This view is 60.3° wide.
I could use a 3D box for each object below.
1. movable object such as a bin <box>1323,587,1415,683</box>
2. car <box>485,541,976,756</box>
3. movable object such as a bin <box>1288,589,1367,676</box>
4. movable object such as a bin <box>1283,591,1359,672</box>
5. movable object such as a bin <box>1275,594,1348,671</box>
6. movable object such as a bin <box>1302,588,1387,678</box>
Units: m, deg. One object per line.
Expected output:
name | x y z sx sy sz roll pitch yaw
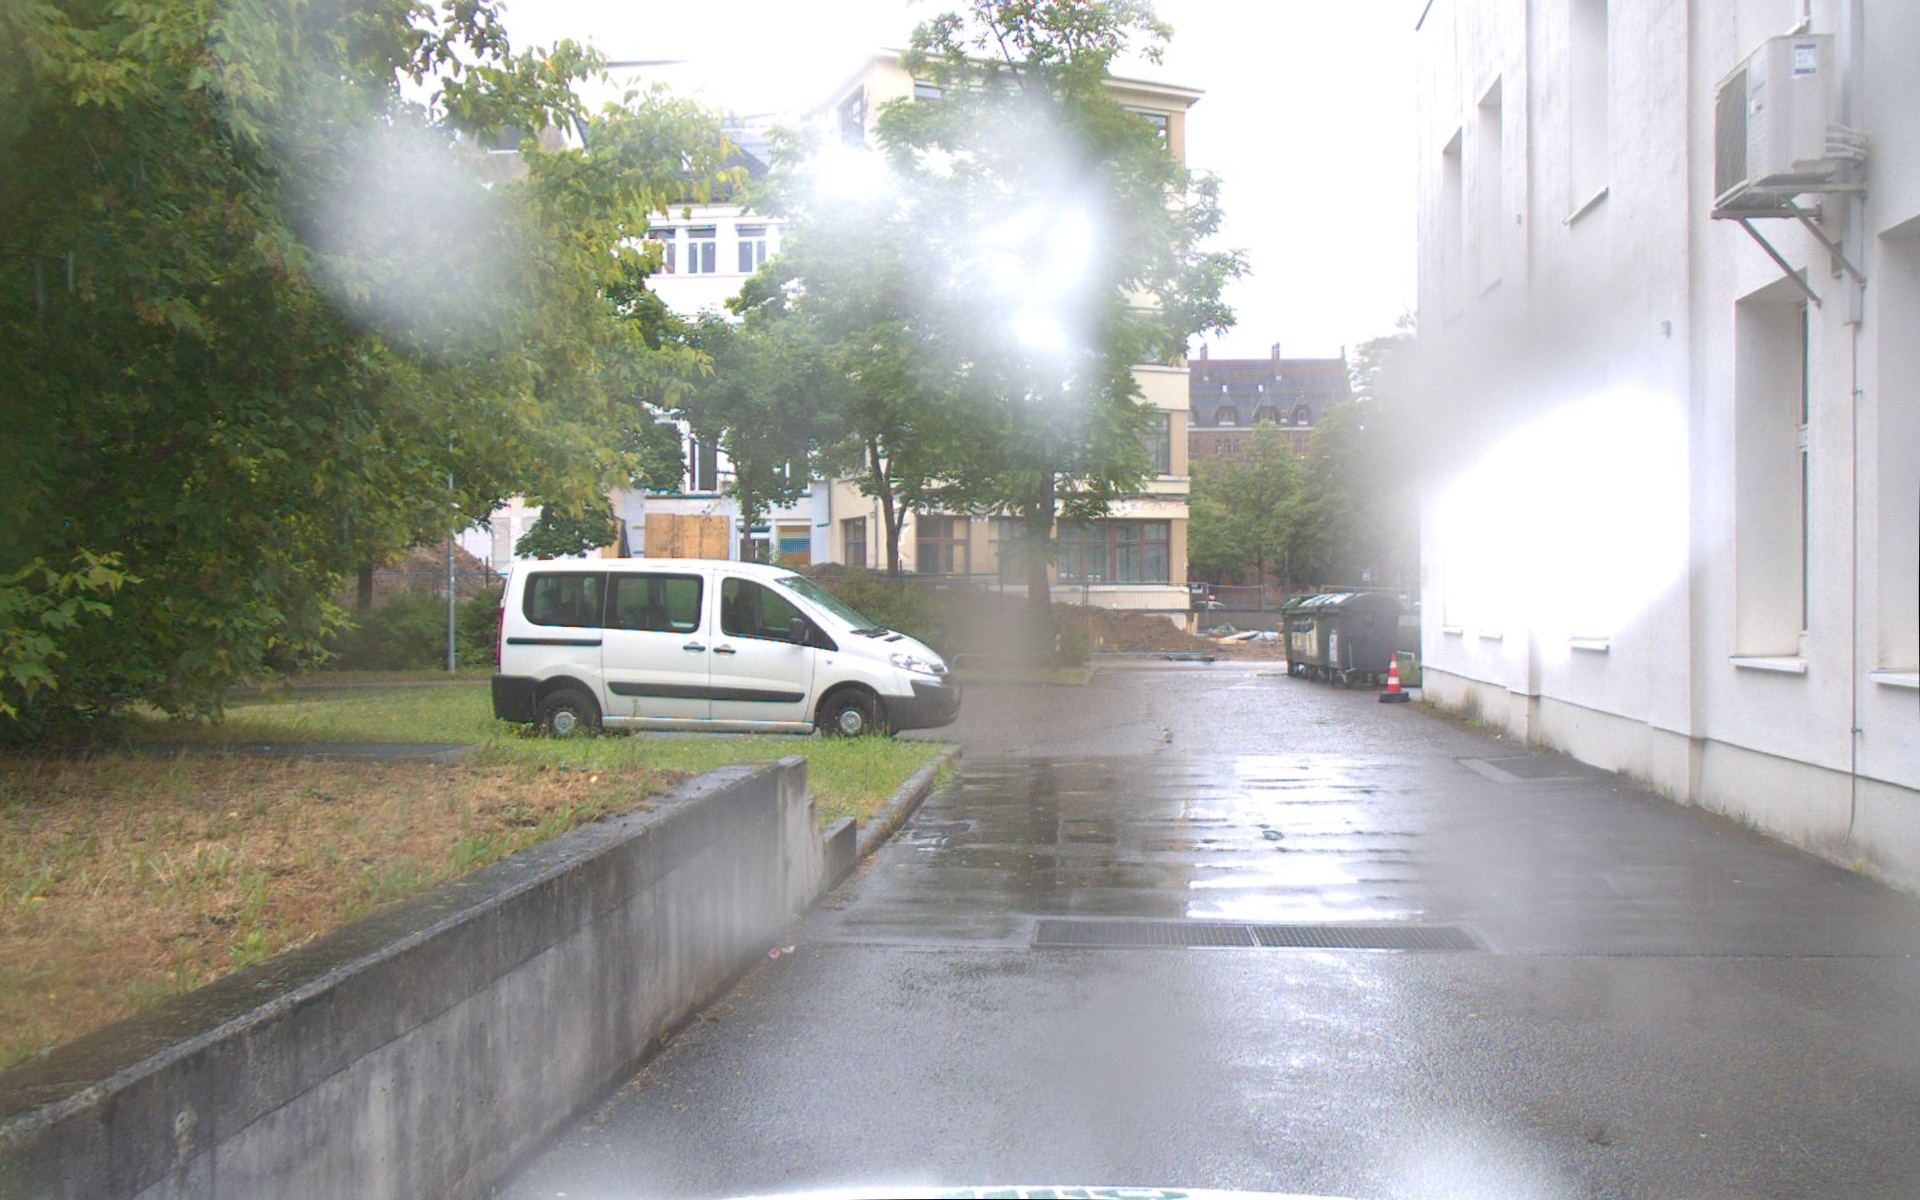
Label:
movable object such as a bin | 6.343 0.552 25.736 1.189 1.462 1.236 0 -2 4
car | -2.285 0.480 17.249 4.678 2.049 2.002 -1 0 7
movable object such as a bin | 6.443 0.574 29.066 1.189 1.494 1.236 0 -2 4
movable object such as a bin | 6.631 0.587 30.435 1.189 1.462 1.259 0 -2 4
movable object such as a bin | 6.745 0.635 31.810 1.189 1.462 1.259 0 -2 4
movable object such as a bin | 6.370 0.561 27.473 1.189 1.462 1.295 0 -2 4
